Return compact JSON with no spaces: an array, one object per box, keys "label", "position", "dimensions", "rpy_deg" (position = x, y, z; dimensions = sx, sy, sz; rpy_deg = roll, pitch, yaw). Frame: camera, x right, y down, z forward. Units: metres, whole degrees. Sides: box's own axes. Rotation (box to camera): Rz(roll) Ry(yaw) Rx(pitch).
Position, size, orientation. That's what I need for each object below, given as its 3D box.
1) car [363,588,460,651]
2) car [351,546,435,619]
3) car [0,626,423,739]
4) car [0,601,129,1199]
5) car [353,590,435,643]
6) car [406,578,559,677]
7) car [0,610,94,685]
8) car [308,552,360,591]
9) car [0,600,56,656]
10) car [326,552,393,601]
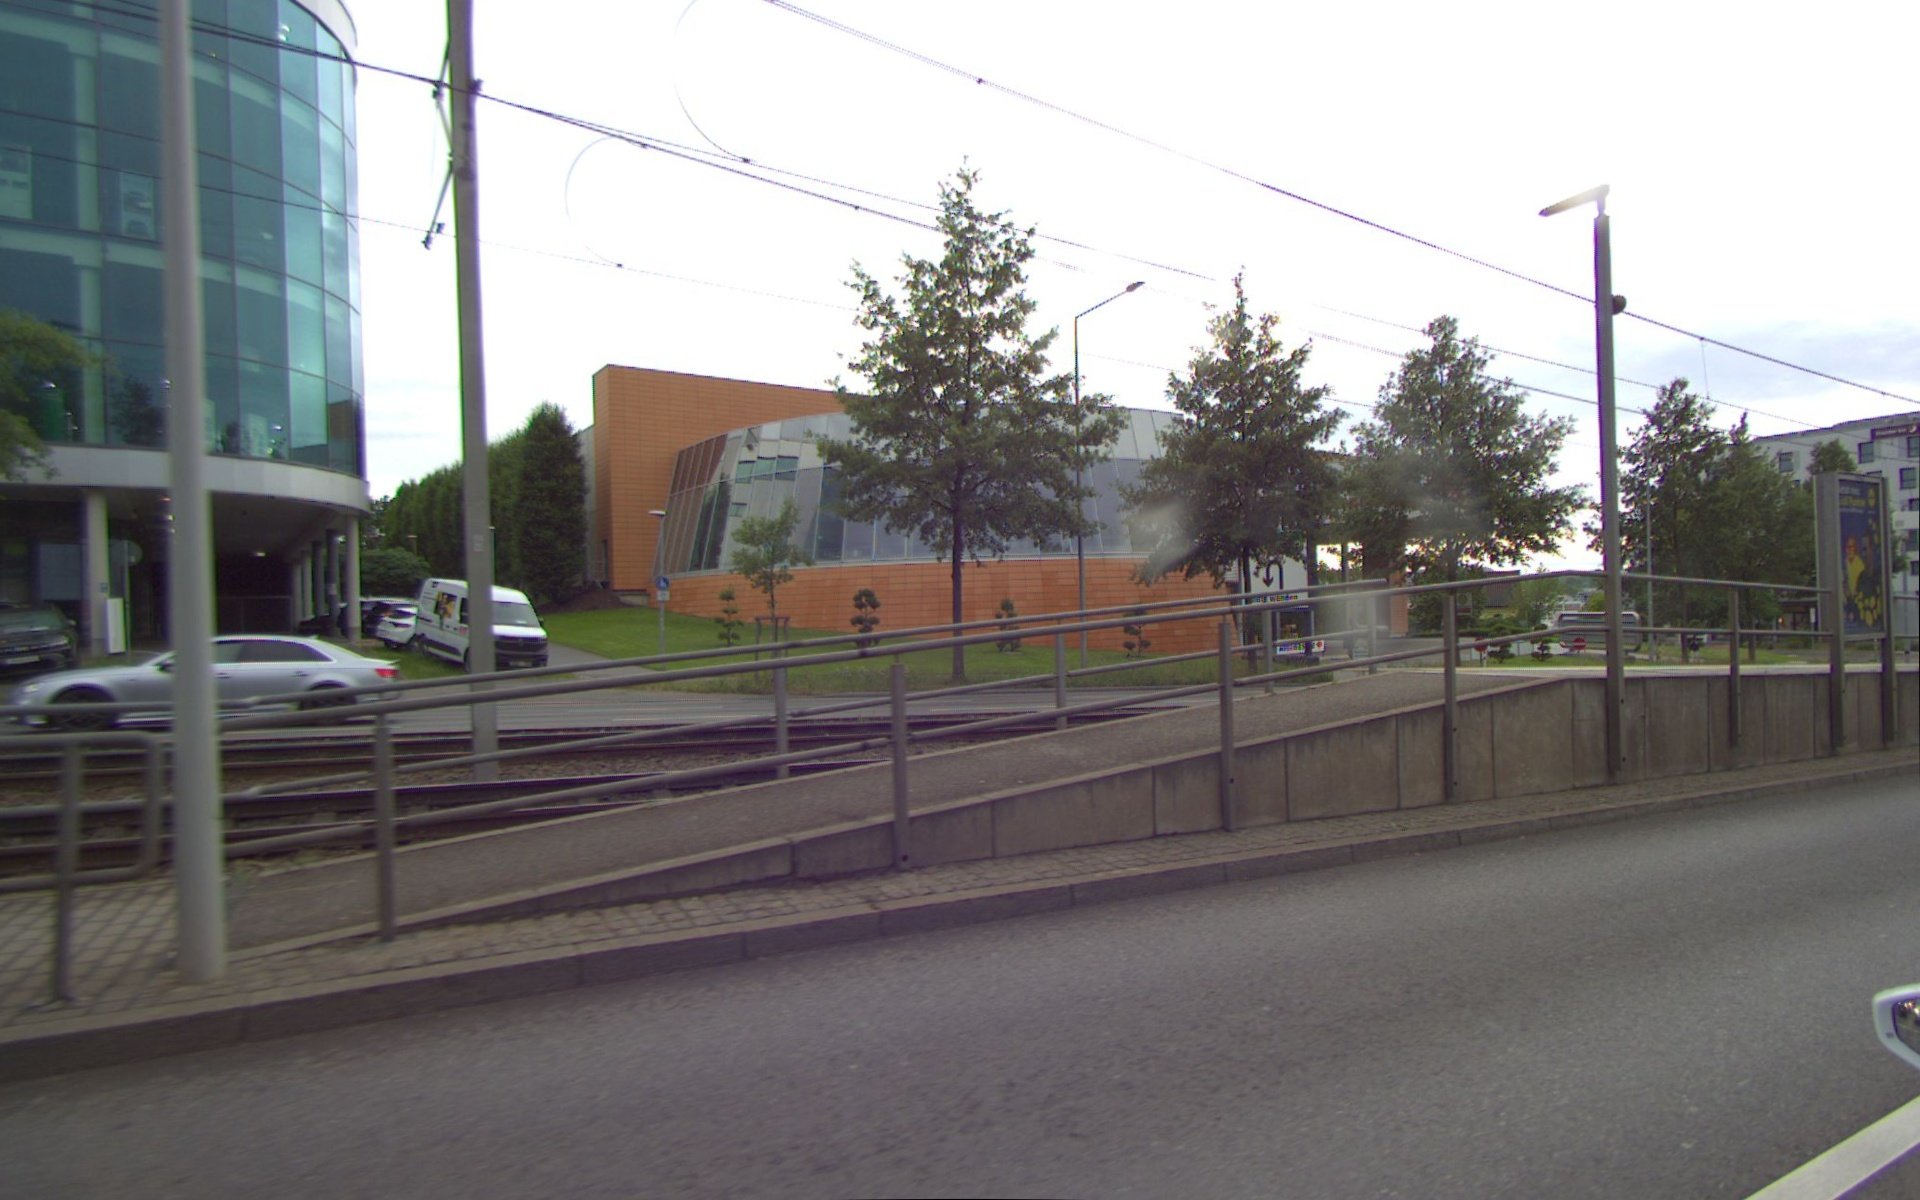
[{"label":"car","position":[-18.906,0.619,34.473],"dimensions":[2.257,1.952,5.429],"rpy_deg":[2,-1,-35]},{"label":"car","position":[-27.879,-0.828,49.282],"dimensions":[2.972,3.315,5.429],"rpy_deg":[2,0,-36]},{"label":"car","position":[-10.874,1.172,15.145],"dimensions":[4.817,1.407,1.984],"rpy_deg":[2,0,-30]},{"label":"car","position":[-3.825,0.687,0.663],"dimensions":[4.772,1.453,1.781],"rpy_deg":[1,-1,-30]},{"label":"car","position":[-22.587,0.614,39.940],"dimensions":[2.257,1.952,5.429],"rpy_deg":[2,-1,-35]},{"label":"car","position":[-14.256,0.733,29.810],"dimensions":[5.407,2.664,2.266],"rpy_deg":[1,0,43]},{"label":"car","position":[-21.783,1.061,23.615],"dimensions":[1.880,1.528,3.957],"rpy_deg":[2,-1,-38]},{"label":"car","position":[-44.073,-1.959,70.640],"dimensions":[2.721,2.528,5.429],"rpy_deg":[2,0,-36]},{"label":"car","position":[-26.968,0.739,26.696],"dimensions":[1.737,1.488,3.999],"rpy_deg":[0,-1,21]},{"label":"car","position":[-33.484,-1.258,55.916],"dimensions":[2.721,2.528,5.429],"rpy_deg":[2,0,-36]}]
